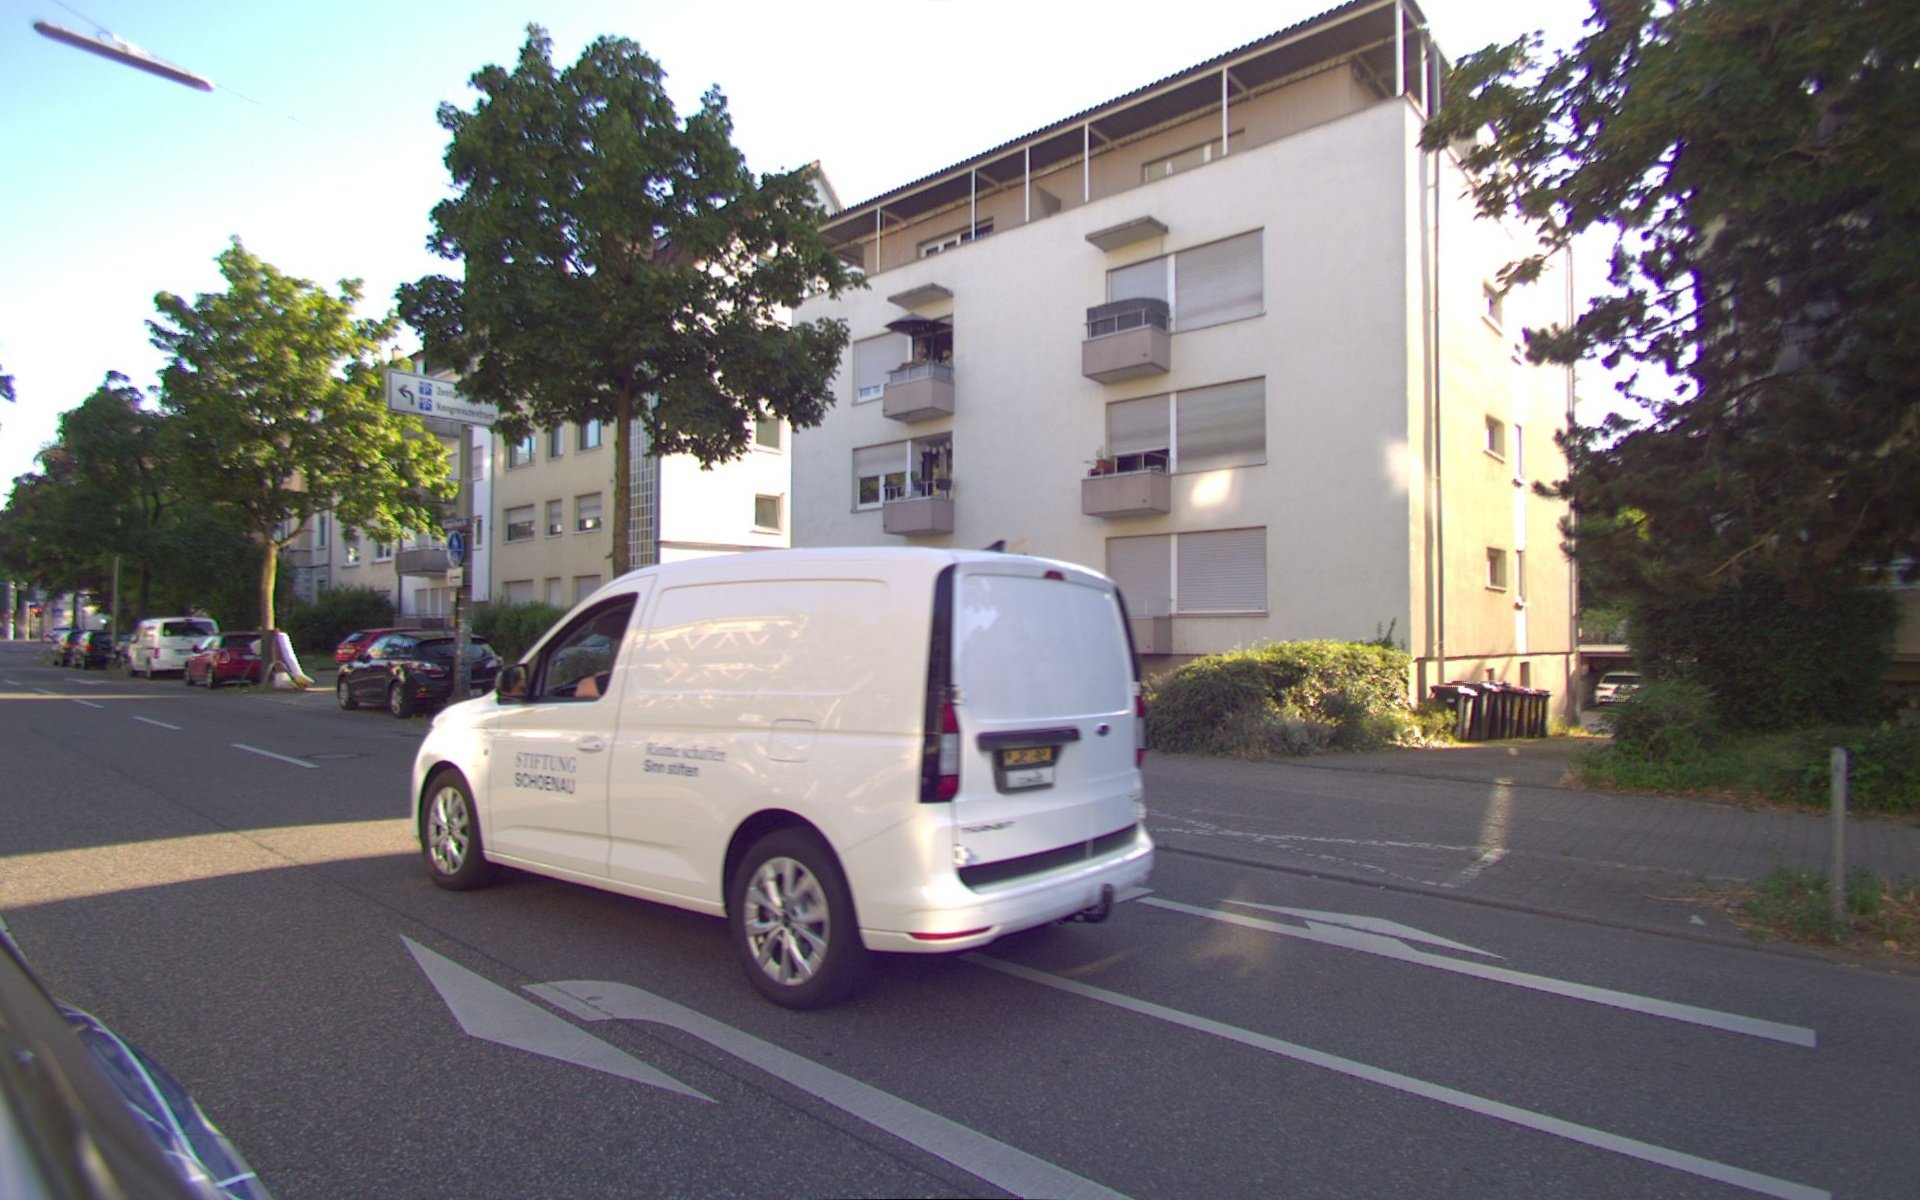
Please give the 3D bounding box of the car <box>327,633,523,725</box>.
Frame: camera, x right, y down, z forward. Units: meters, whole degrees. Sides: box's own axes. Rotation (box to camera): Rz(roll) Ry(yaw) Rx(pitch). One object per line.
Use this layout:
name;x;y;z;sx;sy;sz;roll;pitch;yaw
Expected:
car;-9.814;1.350;18.453;3.998;1.497;1.838;-2;-3;41

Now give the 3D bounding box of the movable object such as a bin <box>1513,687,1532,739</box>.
movable object such as a bin;11.447;2.288;20.593;0.207;1.010;0.519;-2;-3;41

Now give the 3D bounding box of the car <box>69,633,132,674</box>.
car;-32.808;2.013;38.596;3.682;1.416;1.388;-1;0;42

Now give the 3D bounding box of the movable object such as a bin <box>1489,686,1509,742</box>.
movable object such as a bin;10.070;2.116;18.916;0.207;1.010;0.519;-2;-3;41

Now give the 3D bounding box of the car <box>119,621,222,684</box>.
car;-24.465;1.587;31.311;4.190;1.823;1.717;-2;-2;41

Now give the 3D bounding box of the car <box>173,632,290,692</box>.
car;-19.264;1.585;26.711;3.634;1.475;1.717;-2;-2;41

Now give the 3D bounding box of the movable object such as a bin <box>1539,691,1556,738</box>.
movable object such as a bin;12.885;2.503;22.183;0.207;1.010;0.519;-2;-3;41

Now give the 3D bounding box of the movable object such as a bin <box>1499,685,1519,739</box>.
movable object such as a bin;10.622;2.160;19.580;0.207;1.010;0.519;-2;-3;41

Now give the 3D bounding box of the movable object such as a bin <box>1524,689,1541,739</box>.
movable object such as a bin;11.938;2.369;21.106;0.207;1.010;0.519;-2;-3;41

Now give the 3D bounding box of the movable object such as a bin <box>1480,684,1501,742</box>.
movable object such as a bin;9.548;2.031;18.215;0.207;1.010;0.519;-2;-3;41

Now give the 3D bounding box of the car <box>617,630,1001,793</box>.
car;-1.787;1.040;10.949;4.441;1.418;1.620;-2;-2;41

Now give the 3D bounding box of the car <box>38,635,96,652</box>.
car;-90.816;4.411;102.973;3.934;1.597;2.005;0;-2;-12

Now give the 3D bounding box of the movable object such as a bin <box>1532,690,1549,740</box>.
movable object such as a bin;12.404;2.450;21.618;0.207;1.010;0.519;-2;-3;41

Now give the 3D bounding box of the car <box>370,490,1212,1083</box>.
car;-1.149;0.657;5.274;4.427;1.817;1.869;-2;-4;40

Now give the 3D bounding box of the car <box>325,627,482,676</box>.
car;-19.118;1.727;34.973;1.735;1.416;4.516;-1;0;31

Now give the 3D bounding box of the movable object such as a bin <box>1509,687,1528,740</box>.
movable object such as a bin;11.086;2.251;20.098;0.207;1.010;0.519;-2;-3;41

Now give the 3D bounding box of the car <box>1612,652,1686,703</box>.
car;27.177;3.007;39.857;1.847;1.884;3.944;-2;-3;42

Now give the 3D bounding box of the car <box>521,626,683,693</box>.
car;-8.836;1.432;25.174;1.686;1.535;3.422;-2;-2;42

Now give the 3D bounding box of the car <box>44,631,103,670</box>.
car;-36.107;2.019;41.201;3.682;1.475;1.388;-1;0;42
